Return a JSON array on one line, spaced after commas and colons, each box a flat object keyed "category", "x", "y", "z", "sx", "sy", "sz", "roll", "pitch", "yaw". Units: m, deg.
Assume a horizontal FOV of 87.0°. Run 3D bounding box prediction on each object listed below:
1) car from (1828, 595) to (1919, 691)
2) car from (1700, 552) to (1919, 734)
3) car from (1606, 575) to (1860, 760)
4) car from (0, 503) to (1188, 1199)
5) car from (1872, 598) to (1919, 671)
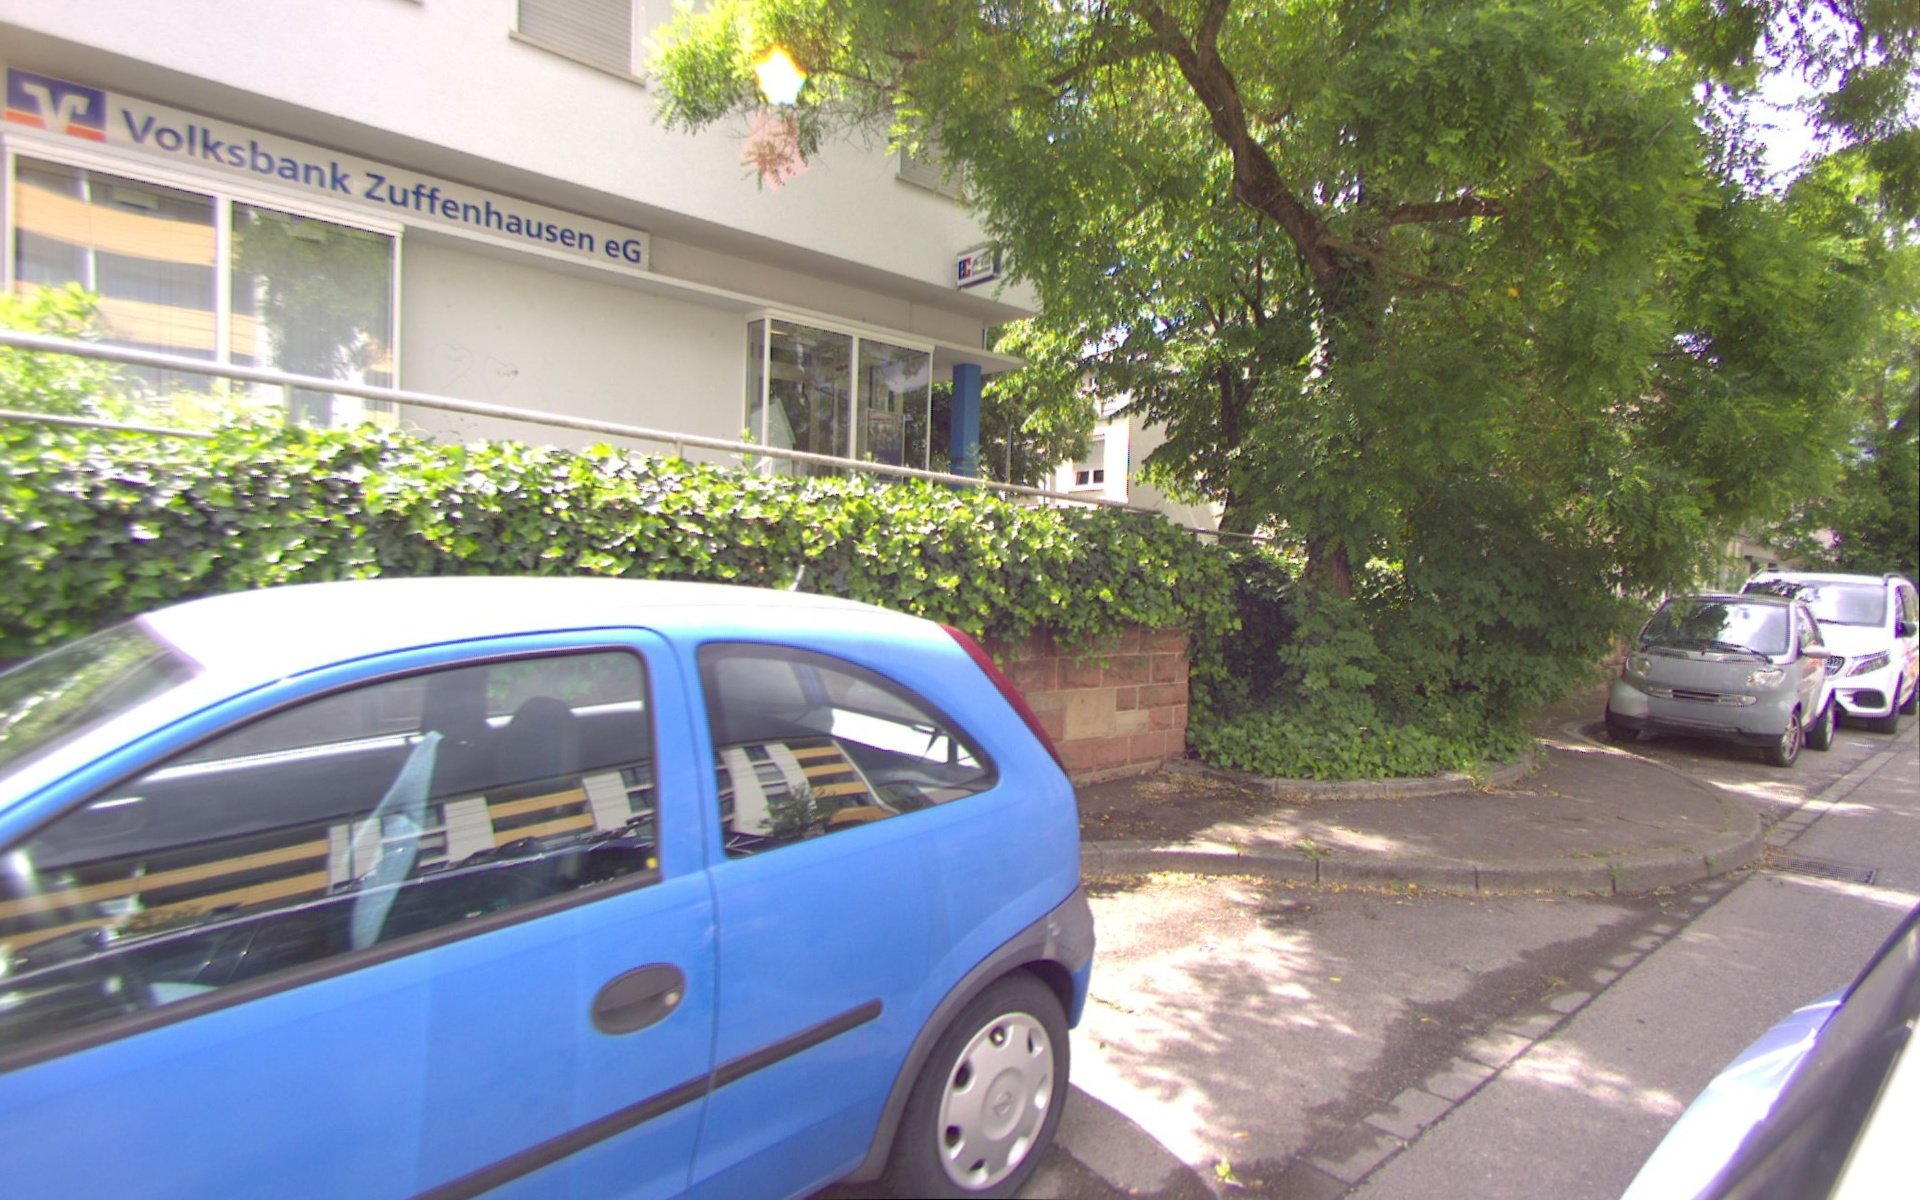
[{"category": "car", "x": 16.683, "y": 0.715, "z": 17.666, "sx": 4.266, "sy": 1.460, "sz": 1.758, "roll": 0, "pitch": 3, "yaw": -42}, {"category": "car", "x": 11.956, "y": 0.453, "z": 13.799, "sx": 5.647, "sy": 1.983, "sz": 1.917, "roll": 0, "pitch": 2, "yaw": -43}, {"category": "car", "x": 7.948, "y": 0.582, "z": 10.344, "sx": 2.798, "sy": 1.552, "sz": 1.516, "roll": 0, "pitch": 3, "yaw": -42}, {"category": "car", "x": -1.298, "y": 0.585, "z": 1.984, "sx": 3.614, "sy": 1.474, "sz": 1.610, "roll": 0, "pitch": 3, "yaw": -43}, {"category": "car", "x": 21.515, "y": 0.742, "z": 22.301, "sx": 4.419, "sy": 1.460, "sz": 1.757, "roll": 0, "pitch": 2, "yaw": -44}]
